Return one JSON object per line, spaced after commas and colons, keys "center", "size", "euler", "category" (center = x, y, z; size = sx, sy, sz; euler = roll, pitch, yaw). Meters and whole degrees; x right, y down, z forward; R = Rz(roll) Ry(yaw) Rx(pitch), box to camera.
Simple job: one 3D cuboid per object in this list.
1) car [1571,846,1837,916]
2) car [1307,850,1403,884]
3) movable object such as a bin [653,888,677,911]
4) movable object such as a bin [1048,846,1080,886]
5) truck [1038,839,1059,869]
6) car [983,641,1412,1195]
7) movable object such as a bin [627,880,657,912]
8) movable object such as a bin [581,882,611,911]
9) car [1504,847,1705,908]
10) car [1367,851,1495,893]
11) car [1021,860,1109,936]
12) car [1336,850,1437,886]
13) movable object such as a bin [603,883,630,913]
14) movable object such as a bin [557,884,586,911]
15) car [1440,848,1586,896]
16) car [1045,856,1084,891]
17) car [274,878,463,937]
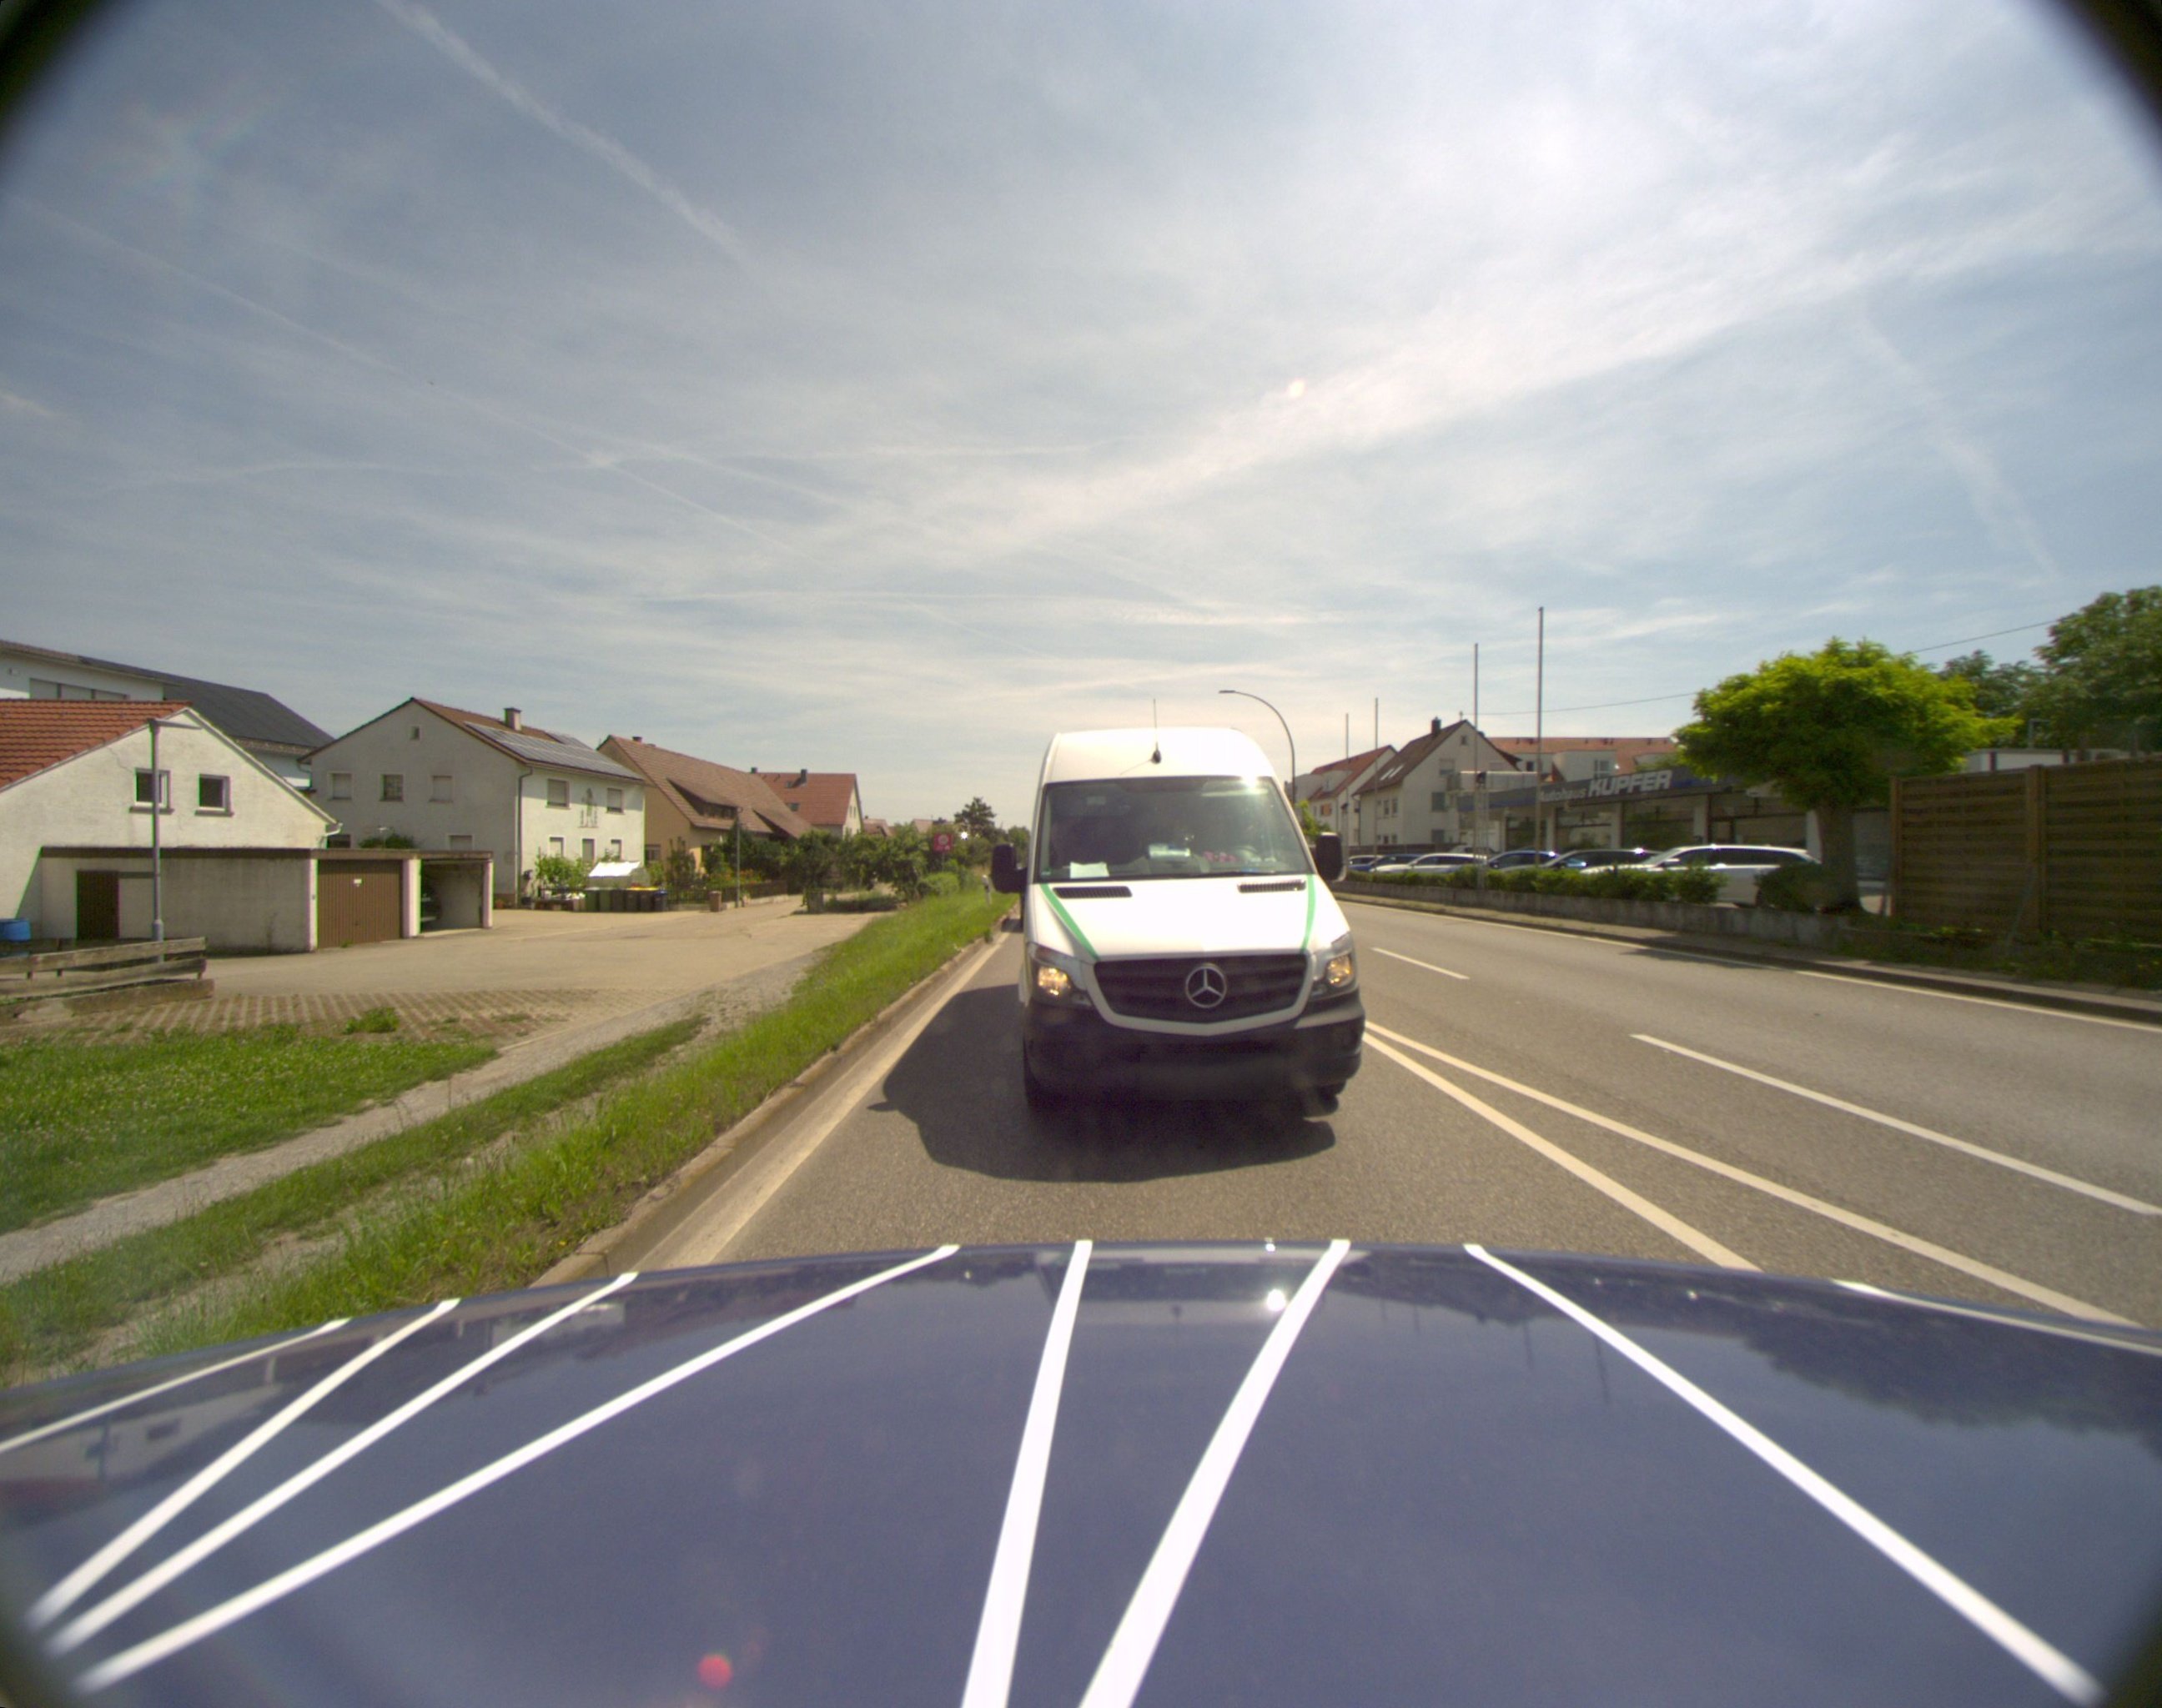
{"center": [13.878, 0.598, 17.291], "size": [4.329, 1.451, 1.858], "euler": [-1, 0, 24], "category": "car"}
{"center": [13.570, 0.653, 37.611], "size": [4.255, 1.521, 2.003], "euler": [-2, 0, 26], "category": "car"}
{"center": [-18.854, 2.059, 34.474], "size": [0.645, 1.021, 0.756], "euler": [-2, 0, -1], "category": "movable object such as a bin"}
{"center": [-1.173, 0.837, 55.306], "size": [1.998, 2.710, 5.419], "euler": [-1, 0, 1], "category": "movable object such as a bin"}
{"center": [-4.308, 0.014, 100.733], "size": [2.506, 3.847, 5.497], "euler": [-2, 0, -1], "category": "truck"}
{"center": [0.525, 0.319, 6.447], "size": [1.978, 2.583, 5.633], "euler": [-2, 0, -1], "category": "car"}
{"center": [-19.862, 1.892, 34.380], "size": [0.765, 1.362, 0.946], "euler": [-2, 0, -1], "category": "movable object such as a bin"}
{"center": [-22.122, 1.919, 34.649], "size": [0.745, 1.239, 0.889], "euler": [-2, 0, -1], "category": "movable object such as a bin"}
{"center": [14.227, 0.642, 20.976], "size": [4.251, 1.536, 1.853], "euler": [-2, 0, 23], "category": "car"}
{"center": [13.488, 0.698, 29.350], "size": [4.303, 1.510, 2.003], "euler": [-2, 0, 27], "category": "car"}
{"center": [-0.371, 0.939, 17.905], "size": [1.824, 1.574, 3.901], "euler": [-1, 0, -1], "category": "car"}
{"center": [13.537, 0.636, 33.673], "size": [3.990, 1.455, 2.003], "euler": [-2, 0, 26], "category": "car"}
{"center": [-21.201, 2.007, 34.677], "size": [0.678, 1.330, 0.820], "euler": [-2, 0, -1], "category": "movable object such as a bin"}
{"center": [-23.052, 1.950, 34.390], "size": [0.740, 1.149, 0.830], "euler": [-2, 0, -1], "category": "movable object such as a bin"}
{"center": [14.016, 0.596, 24.943], "size": [3.990, 1.433, 1.857], "euler": [-2, 0, 25], "category": "car"}
{"center": [-0.820, 0.927, 38.305], "size": [1.824, 1.637, 3.901], "euler": [-1, 0, -1], "category": "car"}
{"center": [-21.547, 1.600, 23.089], "size": [3.997, 1.594, 1.826], "euler": [-1, 0, 0], "category": "car"}
